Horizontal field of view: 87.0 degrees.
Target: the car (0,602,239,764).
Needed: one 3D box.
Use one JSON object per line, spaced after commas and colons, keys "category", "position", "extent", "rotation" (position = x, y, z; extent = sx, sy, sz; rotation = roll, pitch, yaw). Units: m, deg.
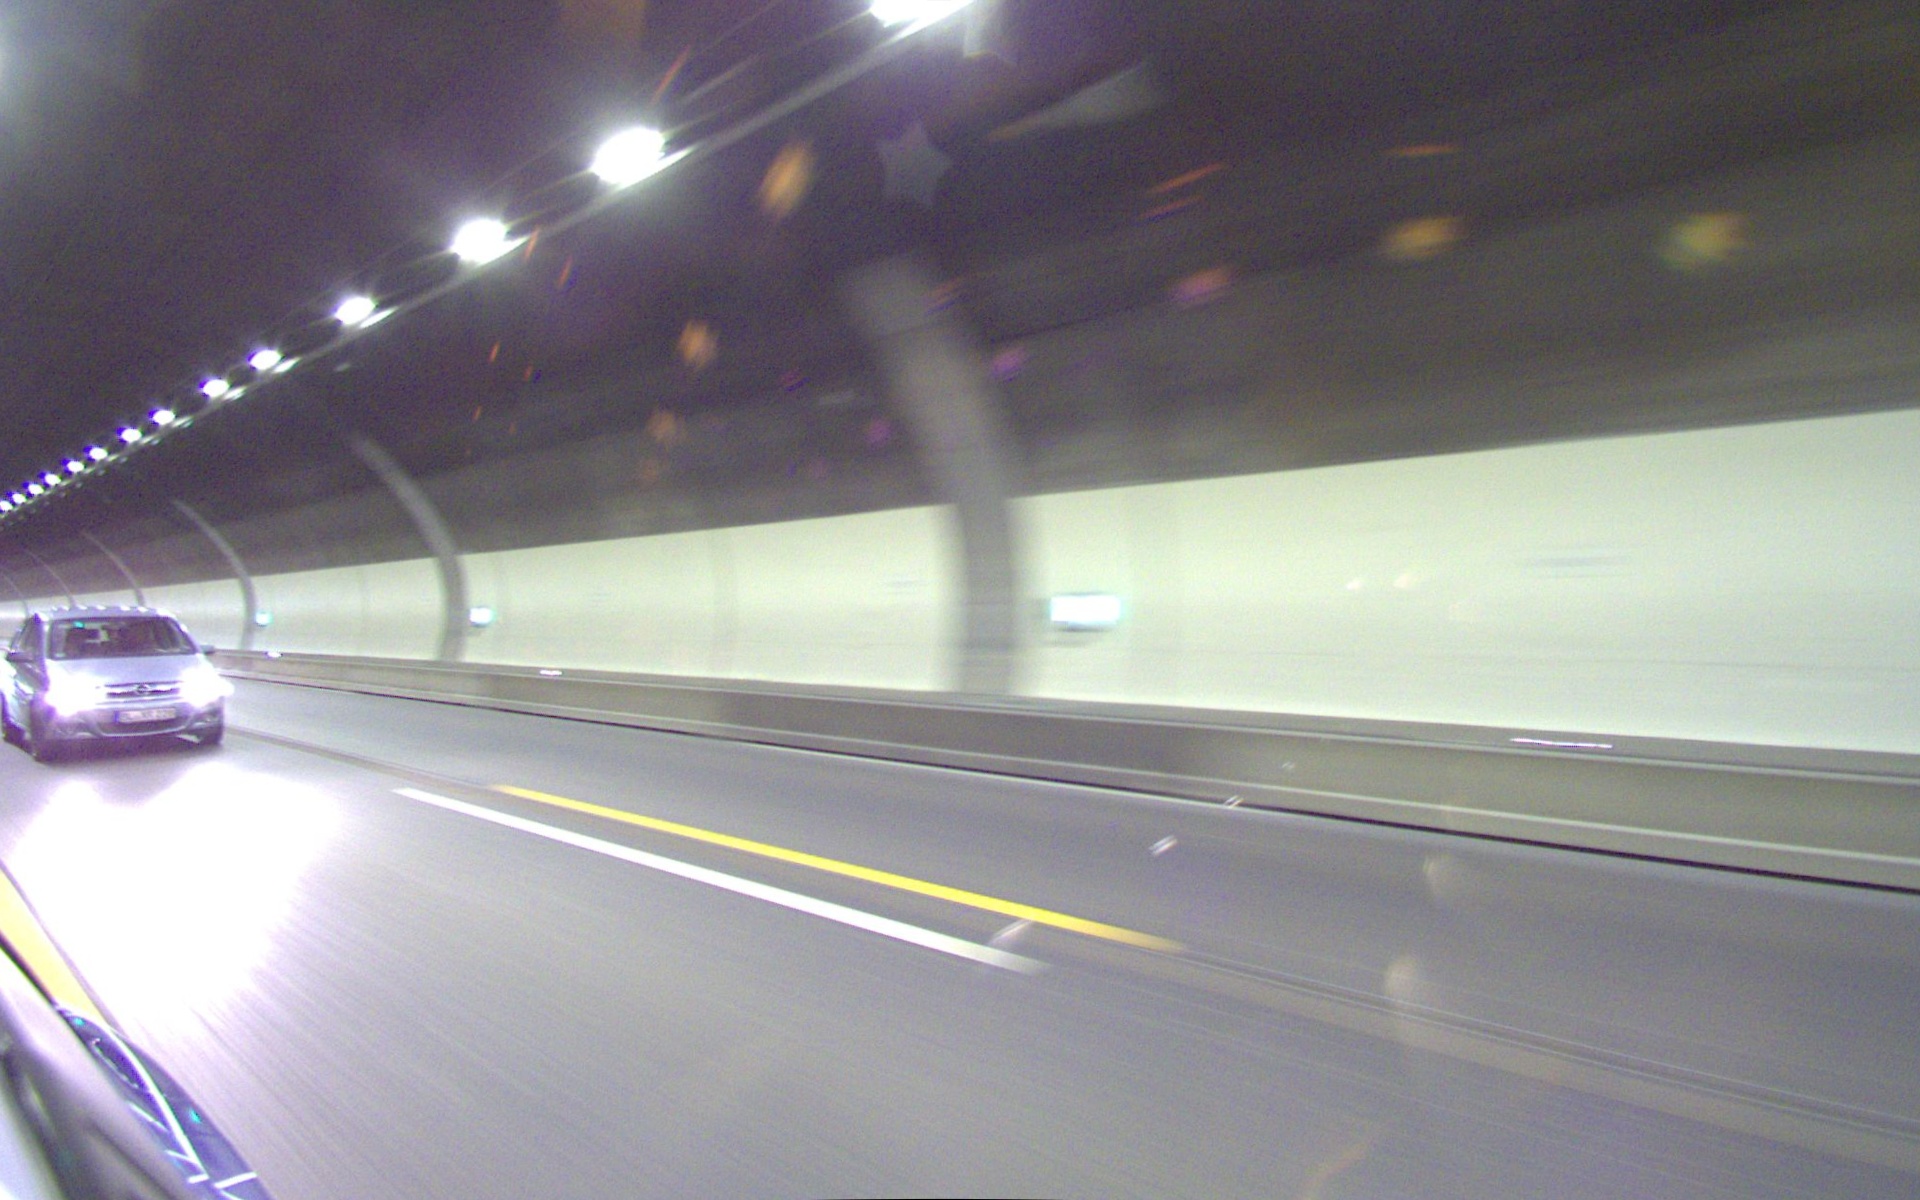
{"category": "car", "position": [-10.084, 0.839, 11.959], "extent": [4.097, 1.584, 1.743], "rotation": [-1, -1, 42]}
